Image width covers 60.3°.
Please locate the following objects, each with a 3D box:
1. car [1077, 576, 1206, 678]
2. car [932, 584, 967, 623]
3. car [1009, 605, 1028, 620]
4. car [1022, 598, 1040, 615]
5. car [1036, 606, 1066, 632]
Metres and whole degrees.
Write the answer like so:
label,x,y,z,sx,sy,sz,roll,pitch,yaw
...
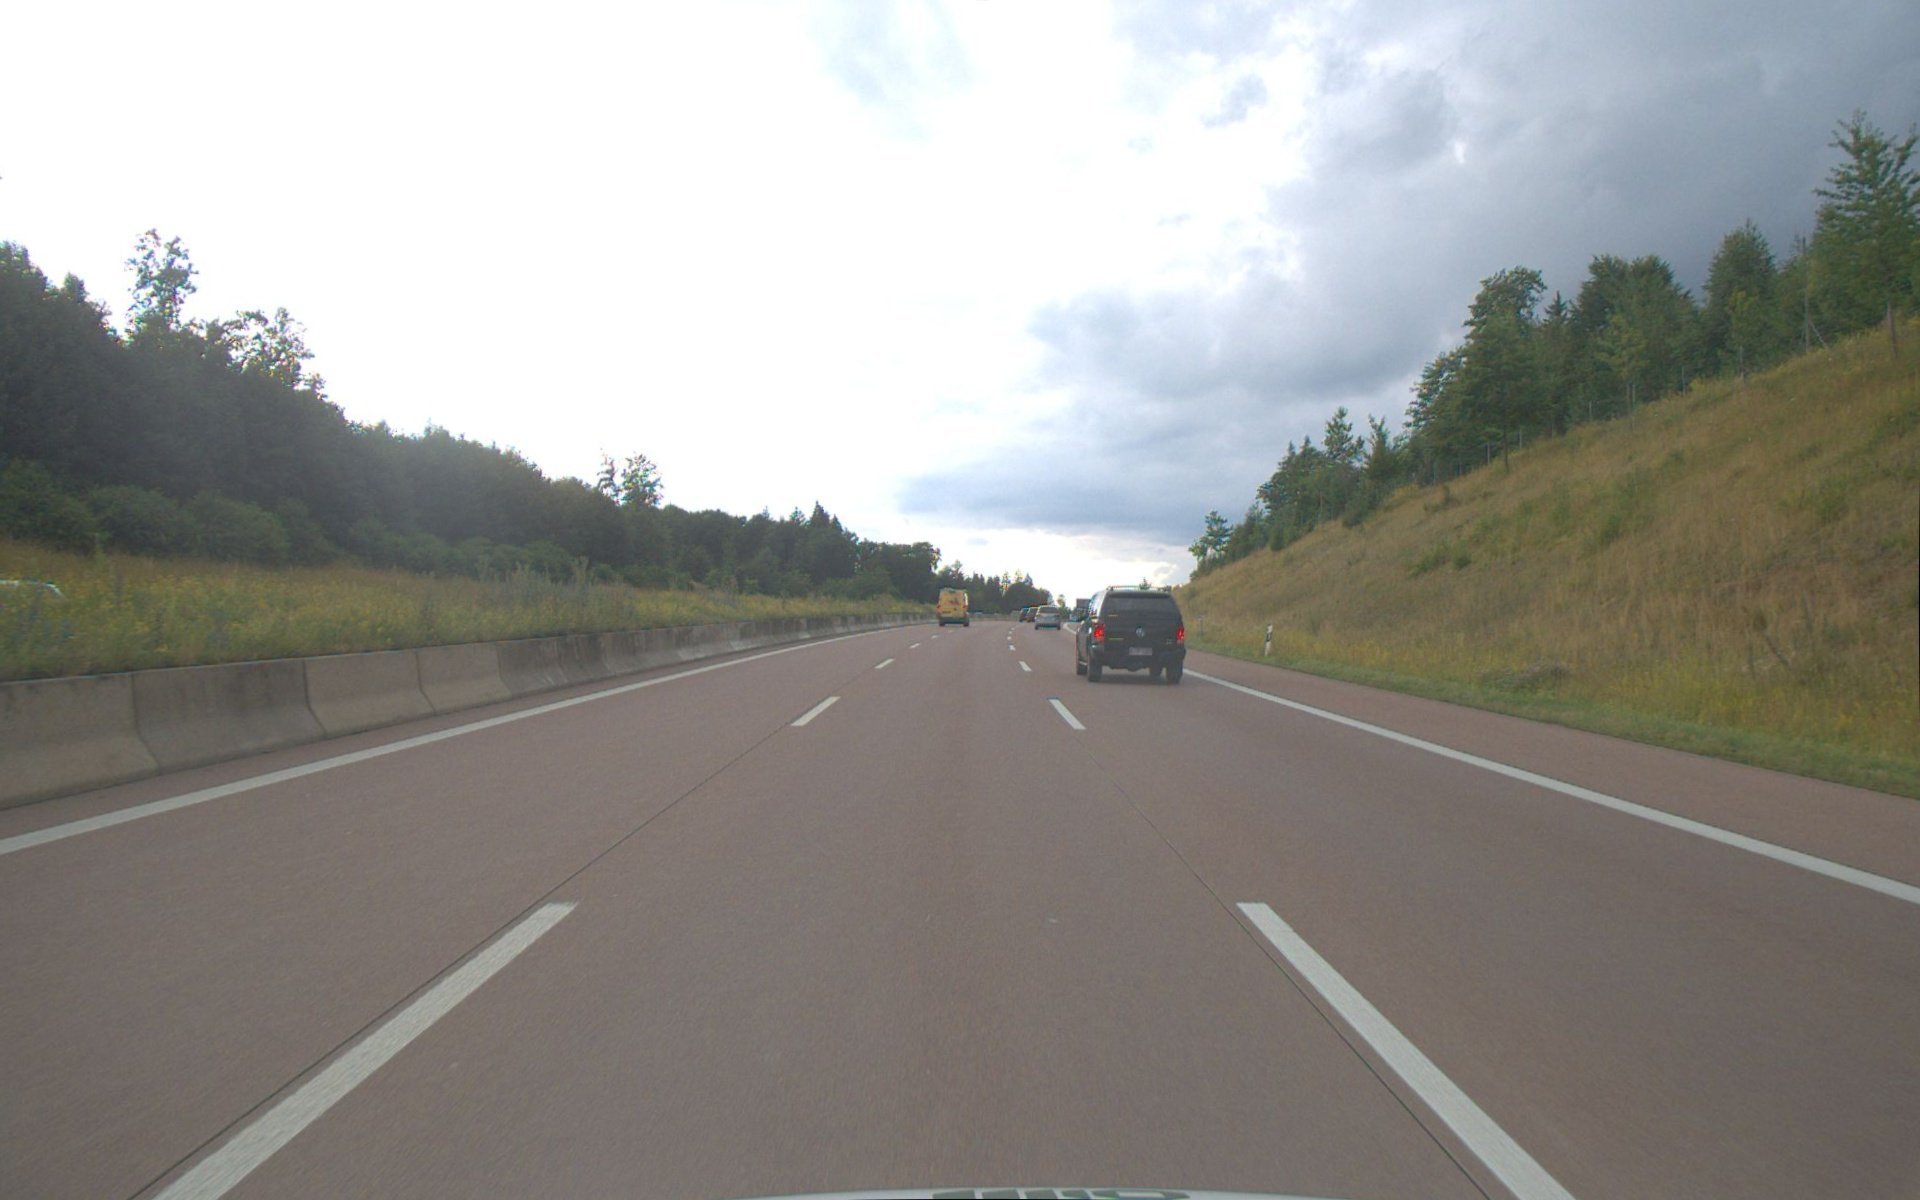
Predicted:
label,x,y,z,sx,sy,sz,roll,pitch,yaw
car,3.640,0.557,34.142,2.002,1.930,5.576,0,-1,-1
car,-0.729,0.302,121.066,2.408,2.754,5.614,0,-1,1
car,7.273,1.552,204.691,1.847,1.795,5.001,0,-1,7
car,7.747,0.756,180.031,1.848,1.795,4.784,0,-1,4
car,6.114,1.287,111.416,1.936,1.677,4.621,1,-1,3
